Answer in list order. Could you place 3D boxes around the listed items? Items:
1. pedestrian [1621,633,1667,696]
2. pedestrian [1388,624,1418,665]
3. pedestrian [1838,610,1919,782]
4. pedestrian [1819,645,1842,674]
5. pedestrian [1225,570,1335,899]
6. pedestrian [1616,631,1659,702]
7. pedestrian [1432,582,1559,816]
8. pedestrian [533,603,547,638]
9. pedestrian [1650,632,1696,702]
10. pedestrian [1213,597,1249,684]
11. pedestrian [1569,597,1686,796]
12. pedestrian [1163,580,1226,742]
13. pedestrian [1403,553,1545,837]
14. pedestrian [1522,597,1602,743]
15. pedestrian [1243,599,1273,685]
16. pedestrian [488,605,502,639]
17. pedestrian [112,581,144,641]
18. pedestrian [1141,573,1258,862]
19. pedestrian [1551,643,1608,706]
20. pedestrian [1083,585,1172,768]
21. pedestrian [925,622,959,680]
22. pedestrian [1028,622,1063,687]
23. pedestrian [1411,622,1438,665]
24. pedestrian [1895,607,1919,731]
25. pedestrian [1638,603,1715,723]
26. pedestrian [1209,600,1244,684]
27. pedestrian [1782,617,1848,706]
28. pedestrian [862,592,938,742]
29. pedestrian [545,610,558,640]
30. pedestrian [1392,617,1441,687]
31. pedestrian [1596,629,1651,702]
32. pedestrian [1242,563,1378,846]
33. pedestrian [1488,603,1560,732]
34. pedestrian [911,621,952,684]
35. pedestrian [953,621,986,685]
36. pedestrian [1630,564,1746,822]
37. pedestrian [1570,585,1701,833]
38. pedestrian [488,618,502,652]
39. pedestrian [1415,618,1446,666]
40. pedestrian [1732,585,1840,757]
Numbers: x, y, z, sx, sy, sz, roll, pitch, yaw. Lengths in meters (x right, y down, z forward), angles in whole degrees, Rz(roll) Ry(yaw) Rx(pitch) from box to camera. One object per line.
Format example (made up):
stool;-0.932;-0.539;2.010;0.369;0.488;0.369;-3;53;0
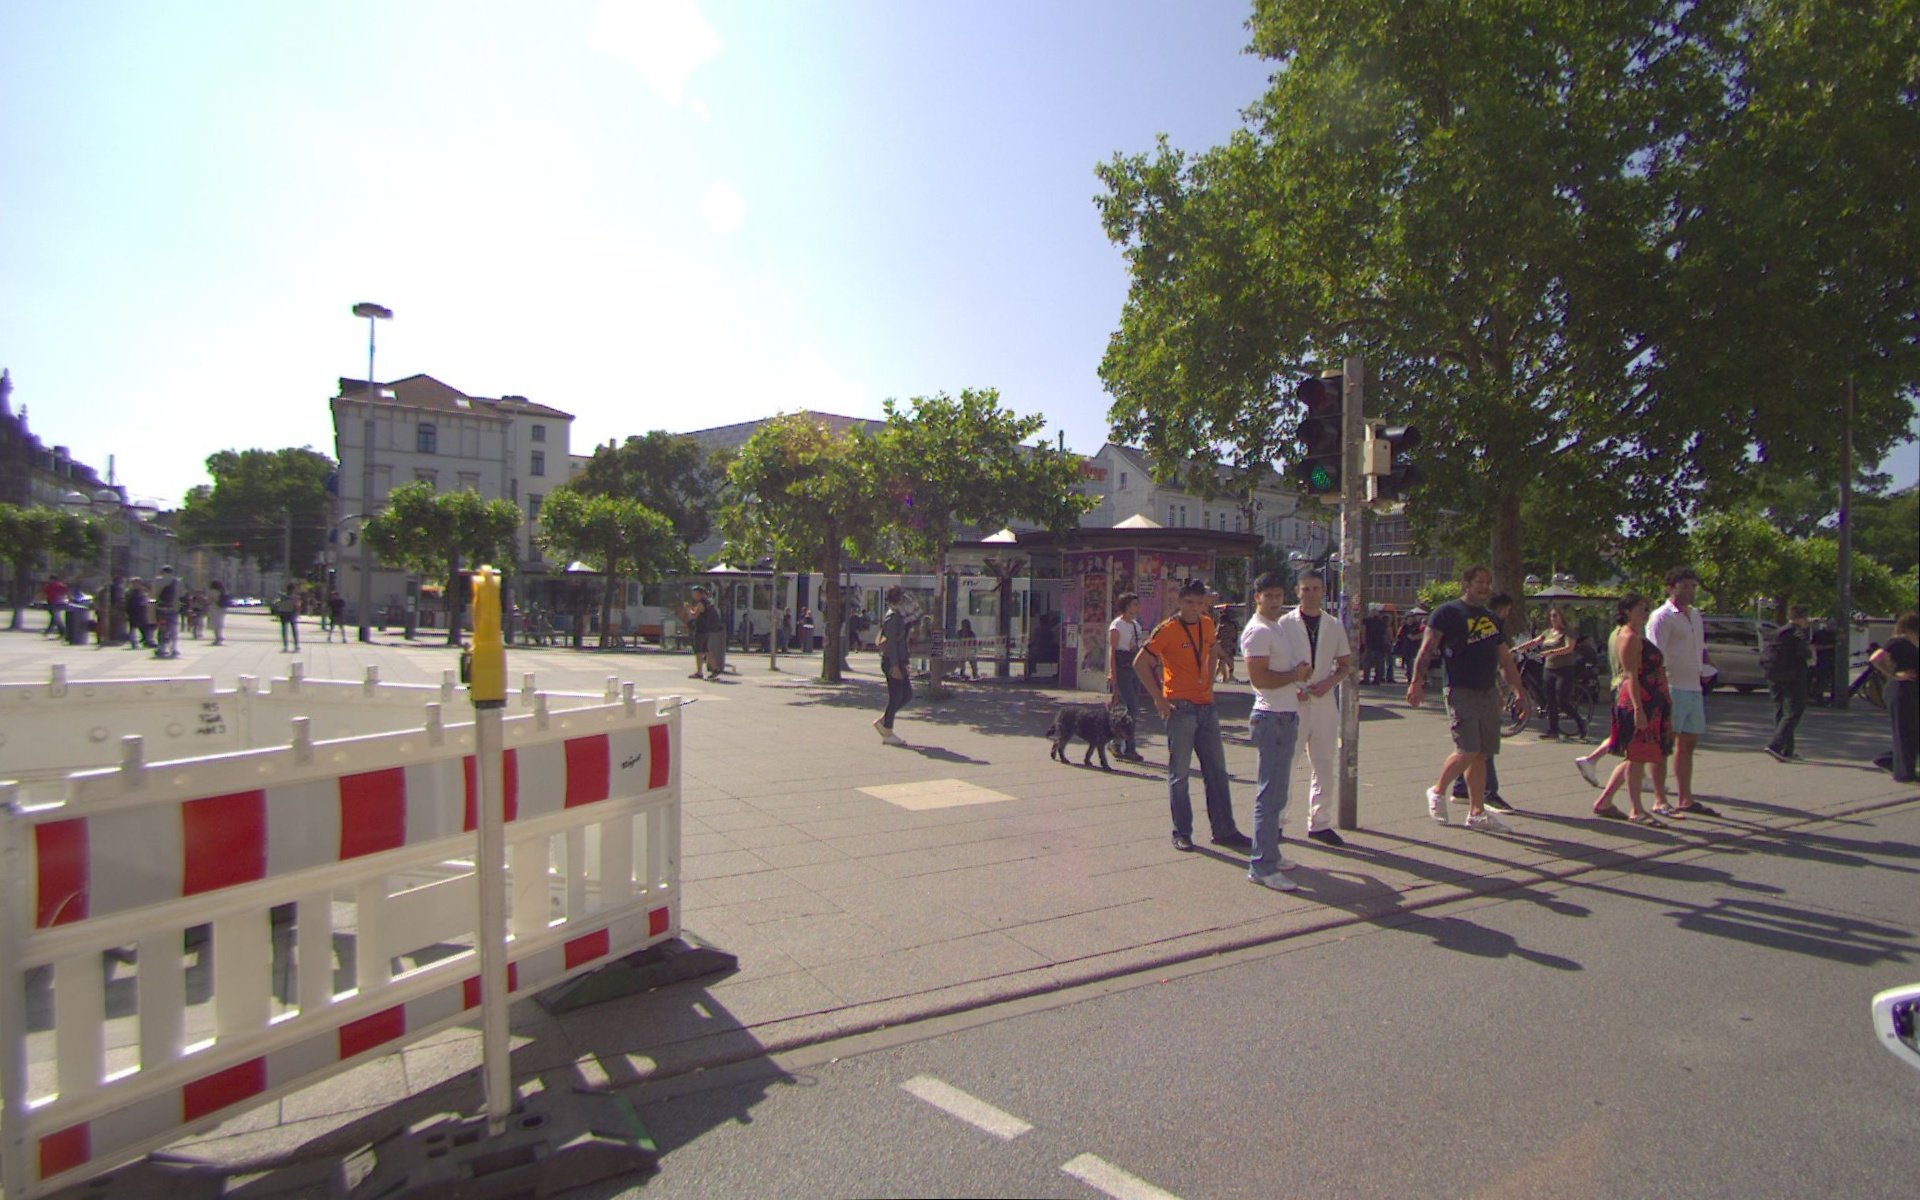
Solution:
pedestrian;15.290;1.433;22.463;0.690;1.366;0.511;1;-1;17
pedestrian;16.855;1.676;38.250;0.724;1.534;0.744;1;0;-16
pedestrian;9.198;0.919;9.815;0.674;1.616;0.634;2;-1;-9
pedestrian;42.789;2.928;49.363;0.703;1.354;0.651;2;-1;-29
pedestrian;1.843;0.725;5.758;0.422;1.763;0.605;2;1;29
pedestrian;13.933;1.353;20.649;0.650;1.404;0.662;1;-1;39
pedestrian;4.275;0.759;8.029;0.645;1.770;0.573;2;1;-28
pedestrian;-20.934;1.019;50.064;0.435;1.695;0.450;1;0;5
pedestrian;14.796;1.377;20.855;0.648;1.404;0.664;1;-1;26
pedestrian;5.977;0.885;22.173;0.555;1.883;0.509;2;-1;-9
pedestrian;6.153;0.855;9.263;0.779;1.745;0.582;2;0;-28
pedestrian;2.863;0.725;12.319;0.650;1.904;0.632;2;1;11
pedestrian;3.668;0.647;7.185;0.645;1.916;0.573;2;1;-28
pedestrian;7.710;0.878;12.873;0.598;1.803;0.574;2;1;-24
pedestrian;6.663;0.939;22.449;0.537;1.883;0.504;1;-1;27
pedestrian;-23.689;1.120;51.152;0.435;1.695;0.450;1;0;5
pedestrian;-23.968;0.301;28.947;0.600;1.688;0.796;2;1;-35
pedestrian;1.555;0.715;6.483;0.531;1.741;0.605;2;1;29
pedestrian;11.919;1.425;19.337;0.653;1.159;0.634;2;-1;-9
pedestrian;1.664;0.742;10.024;0.598;1.762;0.574;2;1;-24
pedestrian;-0.399;1.136;22.727;0.600;1.279;0.611;1;0;15
pedestrian;1.727;1.094;20.299;0.599;1.279;0.612;1;0;-4
pedestrian;17.045;1.586;36.830;0.739;1.534;0.600;1;0;-37
pedestrian;14.899;1.055;15.282;0.716;1.883;0.634;2;-1;-1
pedestrian;11.281;0.981;15.826;0.718;1.834;0.634;2;-1;-9
pedestrian;6.053;0.943;22.838;0.555;1.883;0.509;2;-1;-9
pedestrian;17.632;1.246;20.717;0.751;1.787;0.680;2;-1;-1
pedestrian;-0.654;0.708;10.837;0.598;1.553;0.574;2;1;-24
pedestrian;-20.316;1.260;49.957;0.435;1.484;0.450;1;0;5
pedestrian;10.007;1.132;22.016;0.718;1.498;0.634;2;-1;-9
pedestrian;13.334;1.309;20.179;0.659;1.404;0.725;2;-1;-37
pedestrian;2.346;0.672;6.764;0.598;1.803;0.538;2;1;-24
pedestrian;7.810;0.921;13.916;0.598;1.734;0.574;2;1;-24
pedestrian;-0.594;1.082;21.046;0.602;1.279;0.610;1;0;38
pedestrian;0.197;1.087;20.853;0.599;1.279;0.613;1;0;6
pedestrian;5.755;0.710;7.947;0.553;1.944;0.529;2;-1;-28
pedestrian;5.113;0.792;7.609;0.630;1.781;0.574;2;-1;-28
pedestrian;-23.327;1.744;50.343;0.435;1.695;0.450;1;0;5
pedestrian;17.632;1.568;37.688;0.724;1.736;0.744;1;0;-14
pedestrian;9.385;0.791;11.427;0.674;1.883;0.634;2;-1;-9
